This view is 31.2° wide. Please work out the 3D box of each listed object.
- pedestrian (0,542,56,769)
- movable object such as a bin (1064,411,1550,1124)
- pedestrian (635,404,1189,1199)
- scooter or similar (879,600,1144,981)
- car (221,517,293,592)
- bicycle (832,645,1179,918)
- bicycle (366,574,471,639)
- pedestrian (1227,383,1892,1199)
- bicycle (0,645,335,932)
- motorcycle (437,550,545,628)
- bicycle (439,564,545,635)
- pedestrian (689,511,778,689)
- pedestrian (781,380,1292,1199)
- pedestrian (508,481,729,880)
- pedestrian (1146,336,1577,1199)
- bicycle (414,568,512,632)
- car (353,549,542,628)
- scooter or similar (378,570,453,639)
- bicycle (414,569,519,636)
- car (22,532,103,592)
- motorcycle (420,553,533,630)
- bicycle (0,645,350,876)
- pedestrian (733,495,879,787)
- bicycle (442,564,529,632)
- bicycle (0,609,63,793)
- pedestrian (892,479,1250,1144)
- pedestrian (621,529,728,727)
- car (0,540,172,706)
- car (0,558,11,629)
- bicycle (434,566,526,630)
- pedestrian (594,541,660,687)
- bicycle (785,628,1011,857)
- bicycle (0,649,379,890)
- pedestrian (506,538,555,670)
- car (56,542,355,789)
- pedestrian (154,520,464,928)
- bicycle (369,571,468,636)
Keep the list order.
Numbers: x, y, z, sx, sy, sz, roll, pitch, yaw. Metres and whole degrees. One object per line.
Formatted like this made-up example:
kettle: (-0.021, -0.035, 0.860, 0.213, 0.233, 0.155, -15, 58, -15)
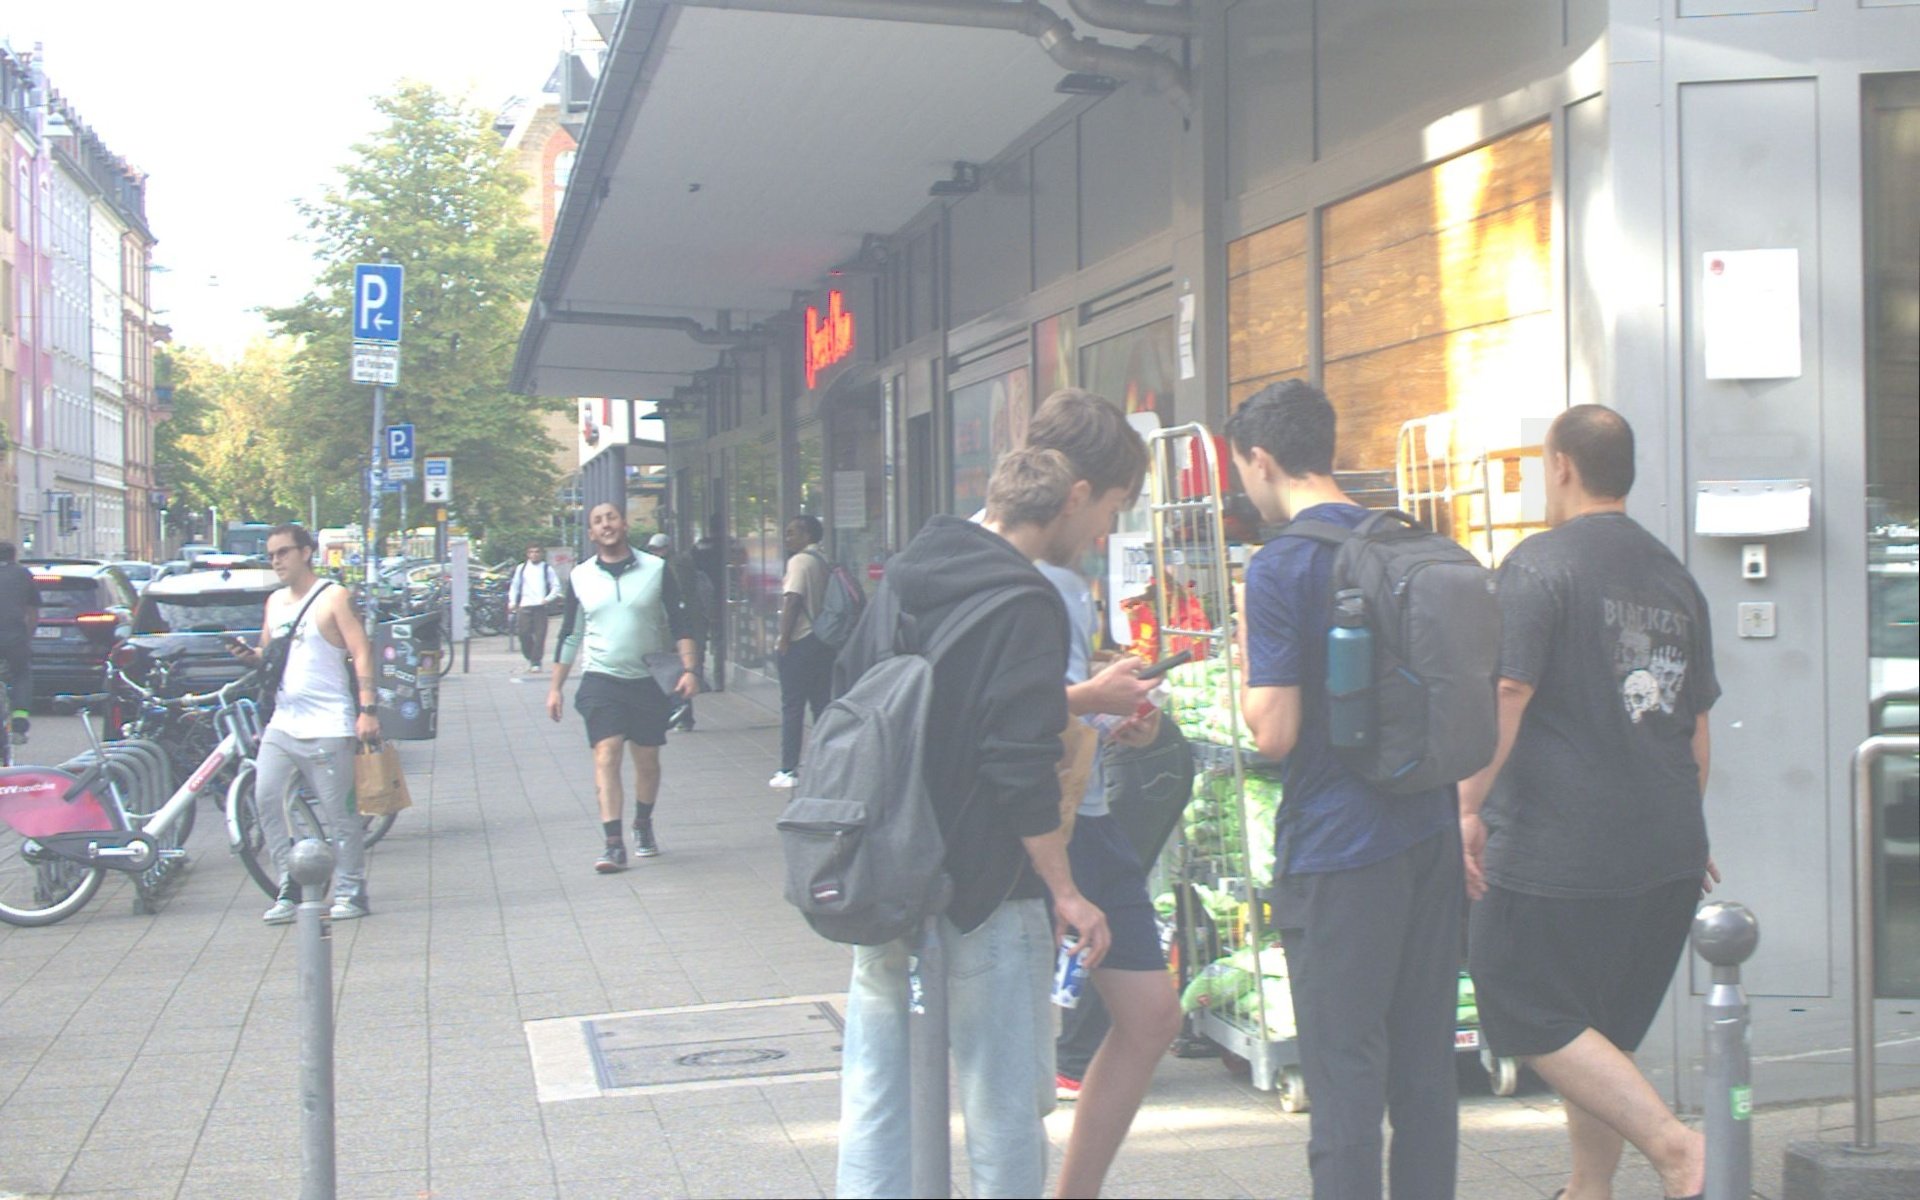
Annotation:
pedestrian: (-7.139, 0.397, 25.478, 0.718, 1.644, 0.930, 1, 1, -7)
movable object such as a bin: (0.895, 0.391, 9.655, 0.779, 1.738, 2.424, -1, 1, -8)
pedestrian: (-0.065, 0.565, 6.249, 0.631, 1.791, 0.713, -2, 3, 33)
scooter or similar: (0.160, 0.632, 12.050, 0.632, 1.208, 1.256, -3, 2, -11)
car: (-19.462, -1.268, 95.332, 1.781, 2.013, 3.889, 1, 1, -9)
bicycle: (0.158, 0.717, 14.310, 0.676, 1.039, 1.734, -1, 0, -28)
bicycle: (-9.532, 0.114, 60.526, 1.765, 1.053, 0.411, -3, 2, -13)
pedestrian: (1.178, 0.475, 6.920, 0.849, 1.741, 1.049, -3, 2, -19)
bicycle: (-3.760, 0.828, 15.257, 1.882, 1.121, 0.908, -3, 2, -10)
motorcycle: (-9.885, -0.245, 72.478, 2.150, 1.525, 0.686, -3, 2, -4)
bicycle: (-8.208, -0.013, 60.300, 1.765, 1.158, 0.650, -3, 2, -6)
pedestrian: (-2.371, -0.005, 36.067, 0.708, 1.854, 0.644, 0, 1, 21)
pedestrian: (0.166, 0.489, 6.717, 0.713, 1.791, 0.631, -2, 3, 25)
pedestrian: (-1.633, 0.369, 16.615, 0.884, 1.828, 1.047, -3, 1, -1)
pedestrian: (0.721, 0.448, 6.213, 0.653, 1.791, 0.659, -3, 2, 5)
bicycle: (-9.624, 0.003, 66.554, 1.796, 1.155, 0.500, -2, 2, 18)
car: (-11.119, -0.245, 74.552, 3.759, 1.541, 1.731, -3, 0, -18)
scooter or similar: (-9.463, 0.078, 59.776, 1.207, 1.143, 0.378, -2, 3, 24)
bicycle: (-8.790, 0.039, 61.277, 1.765, 1.083, 0.650, -3, 2, -6)
car: (-24.158, -1.026, 92.619, 1.689, 1.545, 3.868, 1, 0, -9)
motorcycle: (-9.756, -0.179, 69.451, 2.150, 1.430, 0.765, -3, 2, -4)
bicycle: (-4.168, 0.826, 18.071, 1.787, 1.067, 0.587, -3, 2, -18)
pedestrian: (-0.962, 0.238, 21.336, 0.713, 1.741, 0.817, -3, 2, -10)
bicycle: (-8.567, -0.039, 62.098, 1.495, 1.142, 0.411, -3, 2, -8)
bicycle: (-7.127, 0.720, 25.423, 0.718, 1.270, 1.884, 1, 1, -7)
pedestrian: (0.276, 0.520, 8.978, 0.722, 1.627, 0.712, -3, 2, -10)
pedestrian: (-2.345, 0.219, 28.177, 0.824, 1.583, 0.781, -1, 1, -6)
car: (-9.917, 0.228, 38.082, 1.964, 1.735, 4.042, 0, 0, -8)
car: (-20.311, -0.140, 69.492, 1.689, 1.432, 3.868, 1, 1, -8)
bicycle: (-9.426, -0.044, 67.585, 1.732, 1.155, 0.500, -3, 2, -6)
pedestrian: (-3.692, 0.148, 38.088, 0.644, 1.583, 0.781, -2, 1, -6)
bicycle: (-0.335, 0.681, 17.227, 0.741, 1.011, 1.784, -3, 1, -13)
bicycle: (-3.902, 0.838, 17.389, 1.787, 1.067, 0.569, -3, 2, -18)
pedestrian: (-5.745, 0.037, 45.946, 0.612, 1.720, 1.127, -1, 2, -7)
car: (-5.559, 0.414, 25.754, 1.792, 1.600, 3.925, -3, 2, -8)
pedestrian: (-2.772, 0.505, 14.633, 1.019, 1.665, 0.804, -1, -1, -38)
bicycle: (-10.392, 0.067, 66.038, 1.794, 1.155, 0.500, -3, 2, -5)
